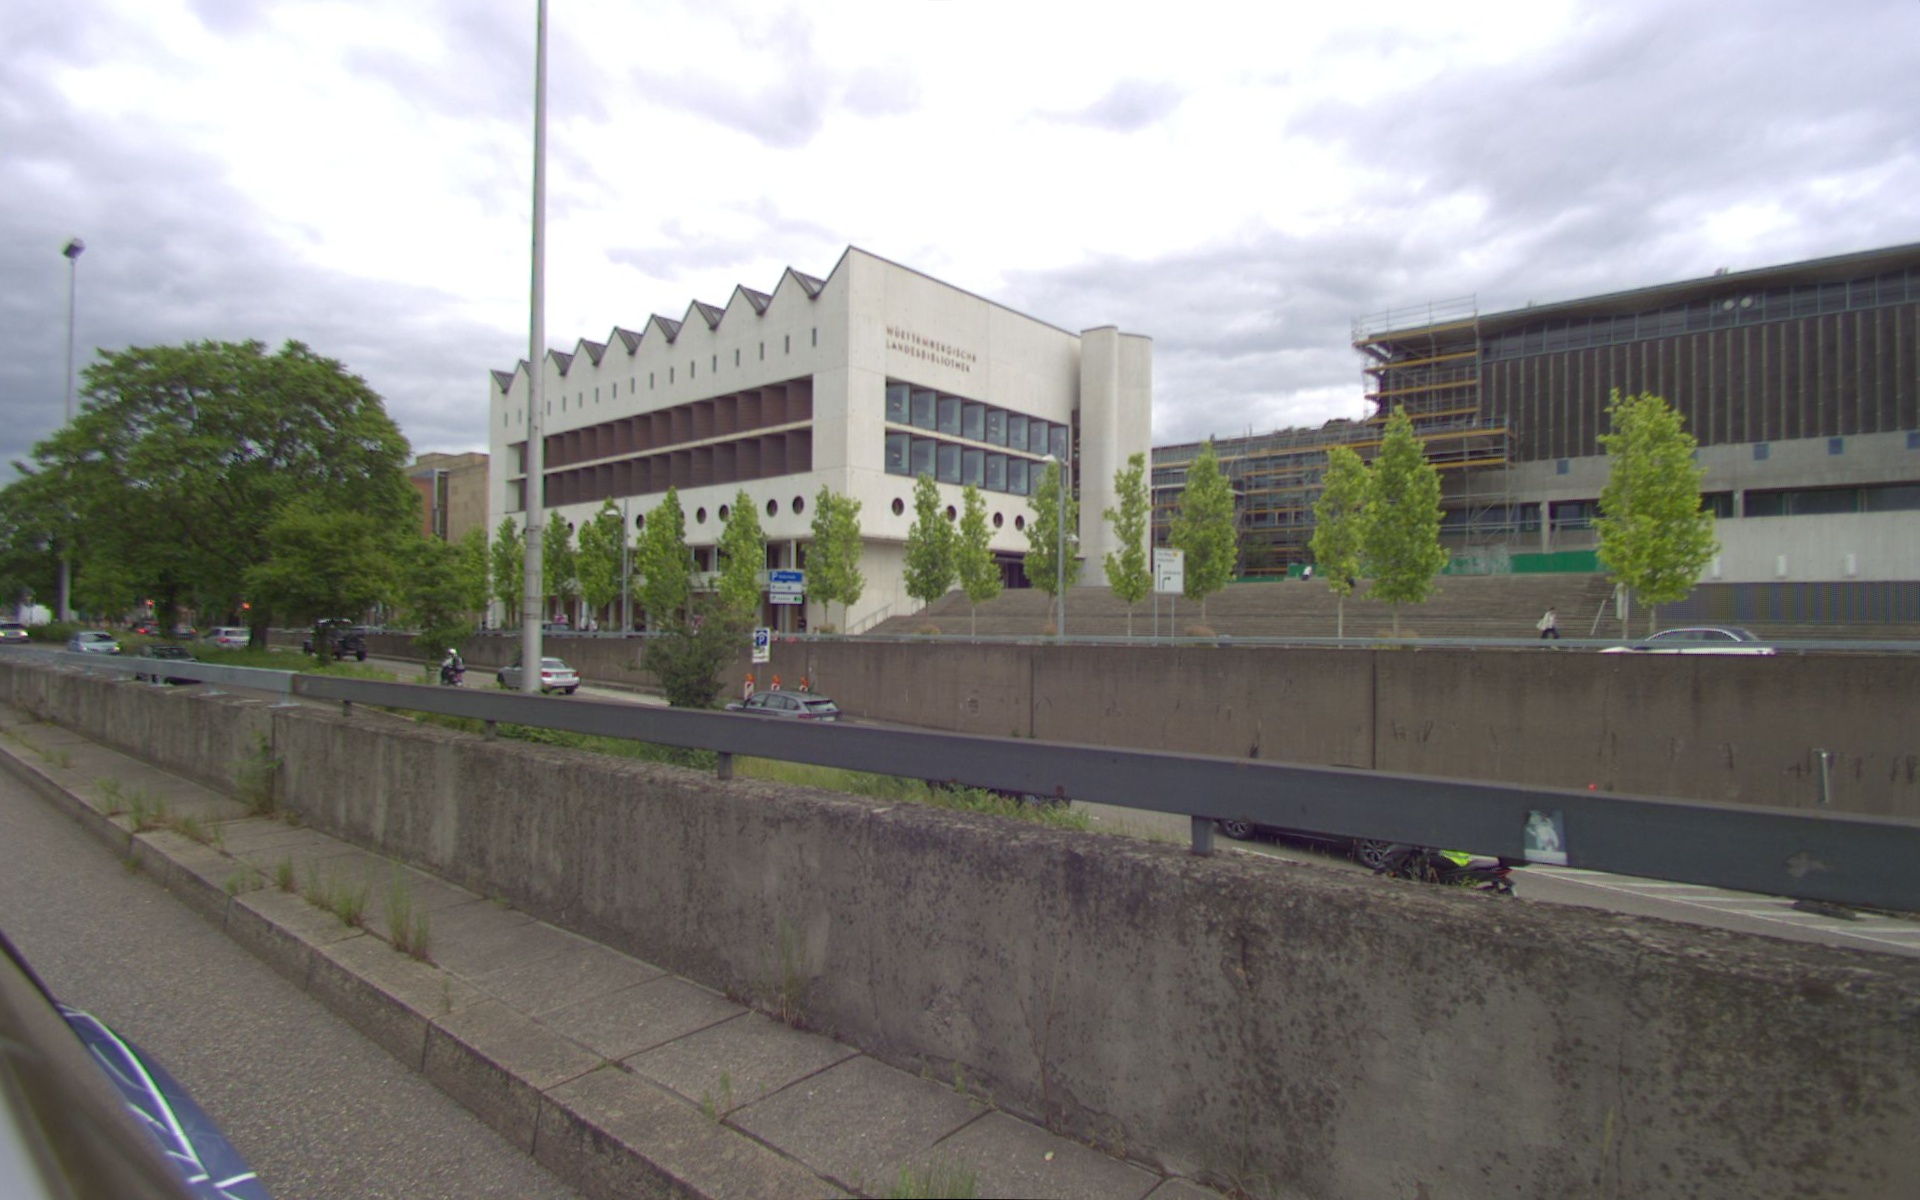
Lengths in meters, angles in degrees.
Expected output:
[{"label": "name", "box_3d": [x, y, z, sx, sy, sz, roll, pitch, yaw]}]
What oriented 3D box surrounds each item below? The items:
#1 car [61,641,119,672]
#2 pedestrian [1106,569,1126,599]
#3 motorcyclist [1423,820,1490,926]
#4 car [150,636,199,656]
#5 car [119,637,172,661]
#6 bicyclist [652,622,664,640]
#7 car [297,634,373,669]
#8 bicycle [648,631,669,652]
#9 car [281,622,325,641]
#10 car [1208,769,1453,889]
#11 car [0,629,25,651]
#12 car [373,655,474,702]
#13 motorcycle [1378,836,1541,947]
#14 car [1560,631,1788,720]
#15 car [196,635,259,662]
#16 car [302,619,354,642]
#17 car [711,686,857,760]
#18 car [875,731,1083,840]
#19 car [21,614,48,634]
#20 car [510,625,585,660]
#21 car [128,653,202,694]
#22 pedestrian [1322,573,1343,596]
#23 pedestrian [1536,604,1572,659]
[{"label": "car", "box_3d": [-43.573, 2.806, 50.646, 4.088, 1.425, 1.539, -1, -1, 40]}, {"label": "pedestrian", "box_3d": [10.861, -1.100, 70.483, 1.079, 2.029, 0.940, -1, 0, 35]}, {"label": "motorcyclist", "box_3d": [7.432, 4.061, 15.153, 0.717, 1.362, 0.662, 2, -4, 40]}, {"label": "car", "box_3d": [-59.447, 3.447, 76.611, 3.995, 1.409, 1.974, -1, -5, 39]}, {"label": "car", "box_3d": [-53.817, 3.233, 66.860, 3.998, 1.409, 1.973, -1, -5, 41]}, {"label": "bicyclist", "box_3d": [-19.108, 1.959, 64.038, 0.643, 1.169, 0.398, -1, 0, 39]}, {"label": "car", "box_3d": [-34.657, 2.848, 56.077, 4.513, 1.657, 2.133, 1, -3, 40]}, {"label": "bicycle", "box_3d": [-19.077, 2.622, 64.023, 1.697, 1.282, 0.398, -1, 0, 39]}, {"label": "car", "box_3d": [-58.159, 2.786, 89.535, 4.484, 1.640, 1.931, -1, -1, 38]}, {"label": "car", "box_3d": [7.023, 4.258, 19.362, 4.003, 1.338, 1.787, 2, -1, 40]}, {"label": "car", "box_3d": [-65.552, 2.731, 69.360, 4.089, 1.425, 1.636, -1, -1, 40]}, {"label": "car", "box_3d": [-21.398, 3.100, 40.309, 4.515, 1.687, 1.973, -1, -5, 41]}, {"label": "motorcycle", "box_3d": [7.436, 4.310, 15.128, 2.050, 1.106, 0.678, 2, -3, 41]}, {"label": "car", "box_3d": [15.881, 1.634, 22.614, 3.998, 1.776, 1.973, -1, -4, 41]}, {"label": "car", "box_3d": [-41.776, 2.774, 57.669, 3.998, 1.409, 1.973, -1, -5, 41]}, {"label": "car", "box_3d": [-48.435, 2.315, 77.558, 4.484, 1.640, 1.931, -1, -1, 38]}, {"label": "car", "box_3d": [-5.313, 3.604, 30.298, 4.388, 1.625, 1.851, 2, -1, 40]}, {"label": "car", "box_3d": [0.335, 3.781, 21.205, 4.144, 1.500, 1.757, 2, -1, 40]}, {"label": "car", "box_3d": [-92.919, 2.415, 101.616, 3.999, 1.868, 1.588, -1, 1, 42]}, {"label": "car", "box_3d": [-21.476, 2.182, 52.617, 4.272, 1.595, 1.818, 1, -3, 40]}, {"label": "car", "box_3d": [-31.774, 2.897, 40.434, 4.089, 1.425, 1.539, -1, -1, 40]}, {"label": "pedestrian", "box_3d": [19.244, -0.782, 52.249, 0.767, 0.949, 0.719, -3, 22, 35]}, {"label": "pedestrian", "box_3d": [22.511, 1.200, 38.365, 0.729, 2.029, 0.794, -1, -3, -9]}]
